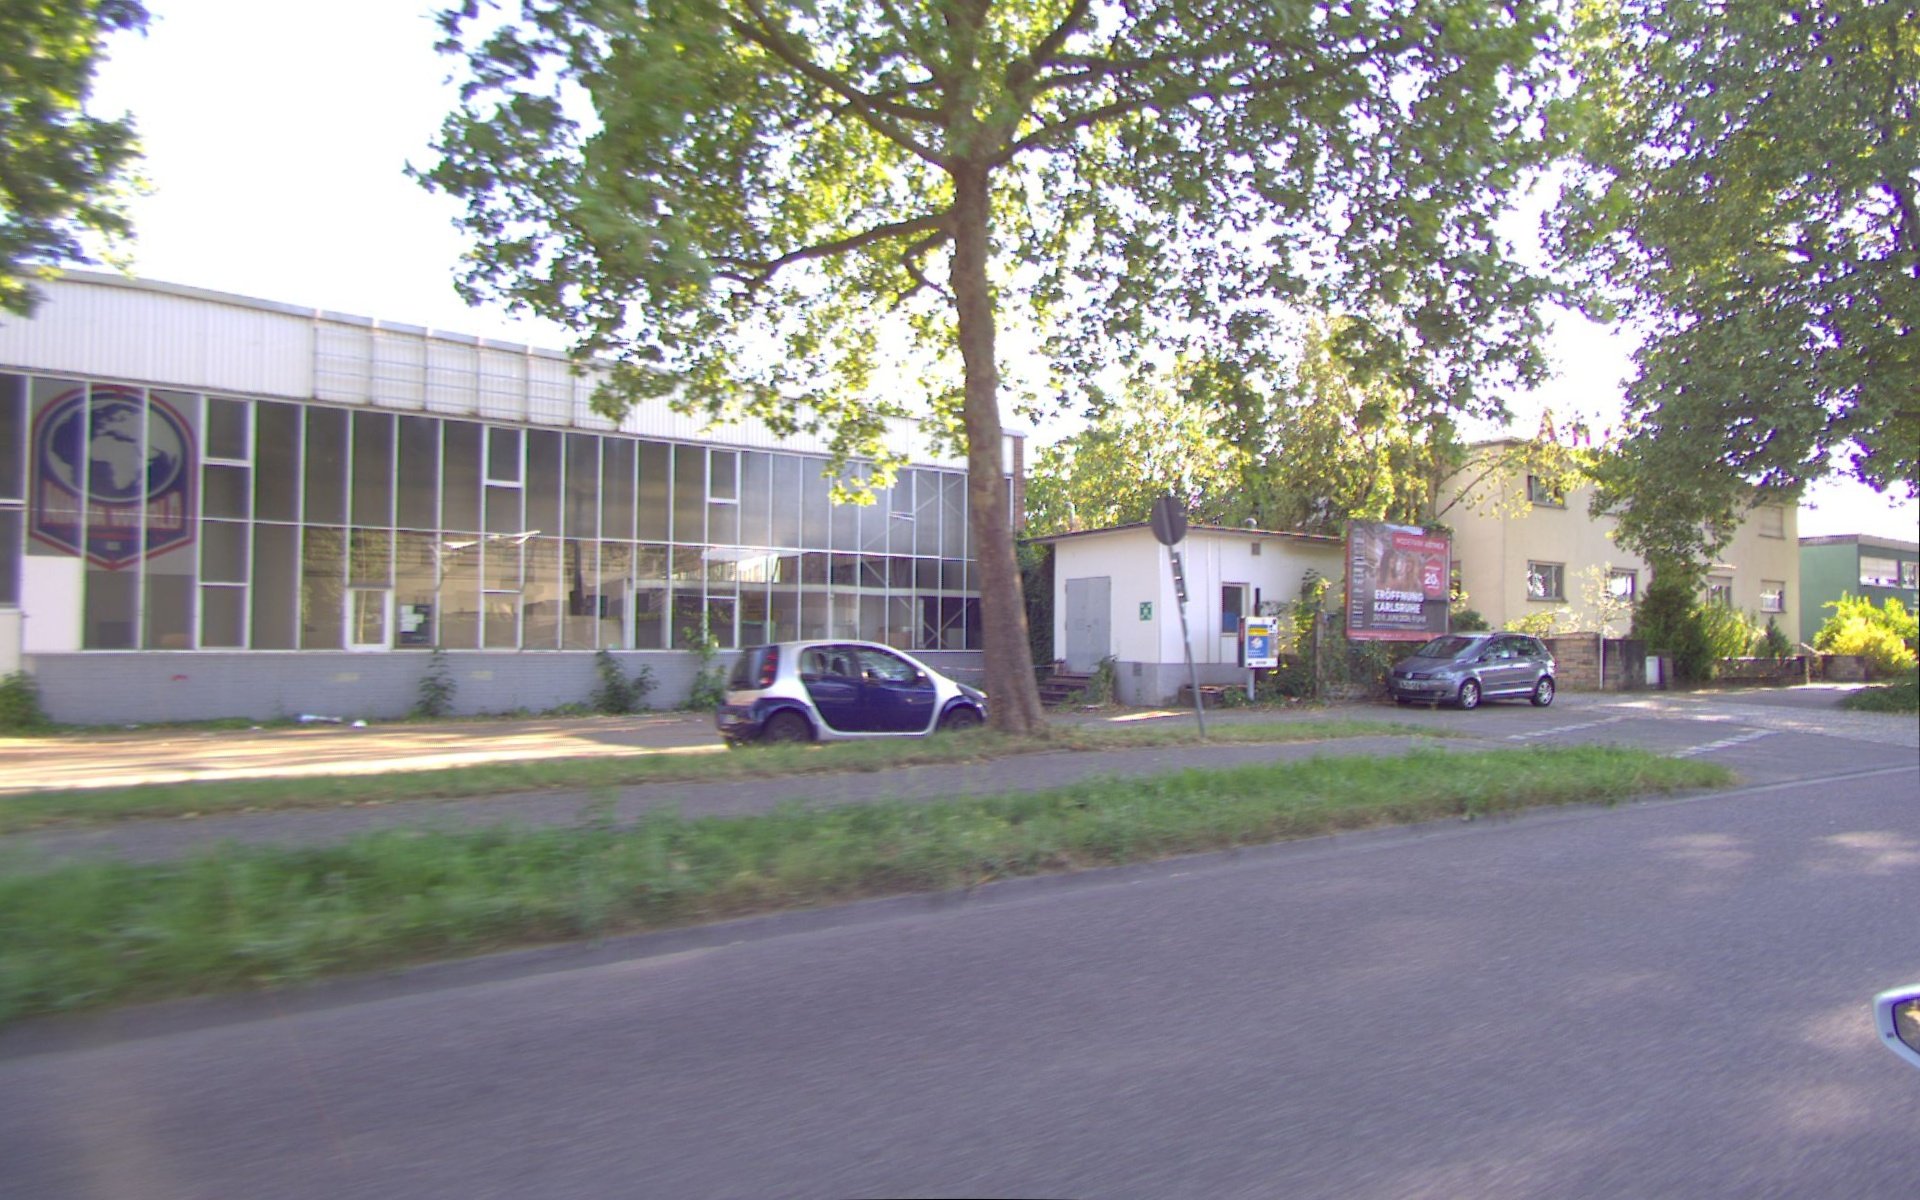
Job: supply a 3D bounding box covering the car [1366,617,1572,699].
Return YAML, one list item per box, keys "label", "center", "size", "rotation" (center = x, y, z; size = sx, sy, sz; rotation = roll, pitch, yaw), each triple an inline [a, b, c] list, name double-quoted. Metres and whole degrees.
- label: "car"
  center: [11.108, 1.252, 21.894]
  size: [4.221, 1.597, 1.985]
  rotation: [3, -1, -29]

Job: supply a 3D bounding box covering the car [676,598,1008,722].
- label: "car"
  center: [-1.512, 0.839, 13.220]
  size: [3.881, 1.387, 1.982]
  rotation: [3, -7, -35]
